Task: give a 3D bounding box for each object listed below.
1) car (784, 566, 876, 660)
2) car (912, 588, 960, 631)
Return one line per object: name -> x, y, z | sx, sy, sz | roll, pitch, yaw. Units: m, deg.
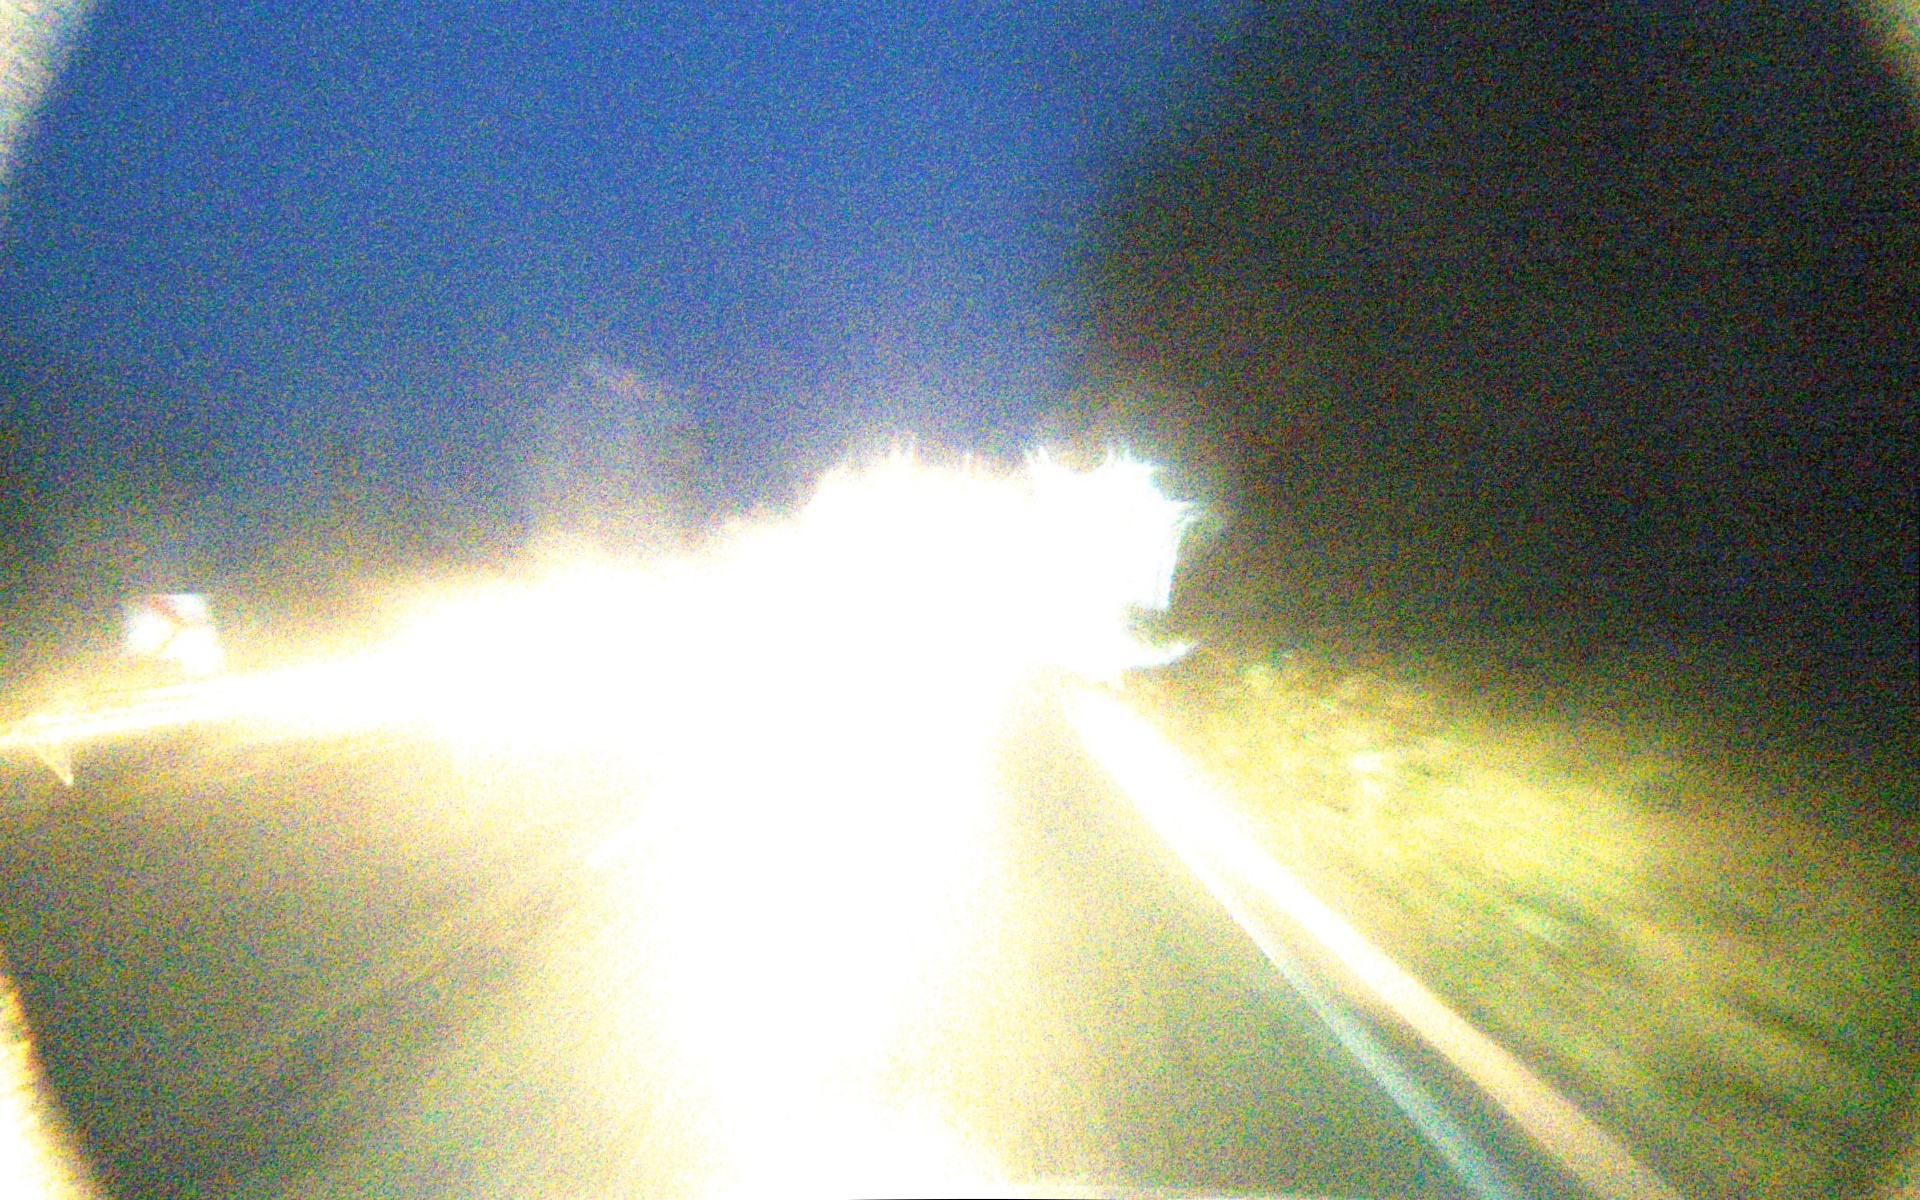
car -> -2.729, 0.249, 35.459 | 1.721, 1.900, 3.999 | 0, 0, -1
car -> -1.026, 0.394, 73.539 | 1.953, 1.684, 4.000 | -4, 1, 0
